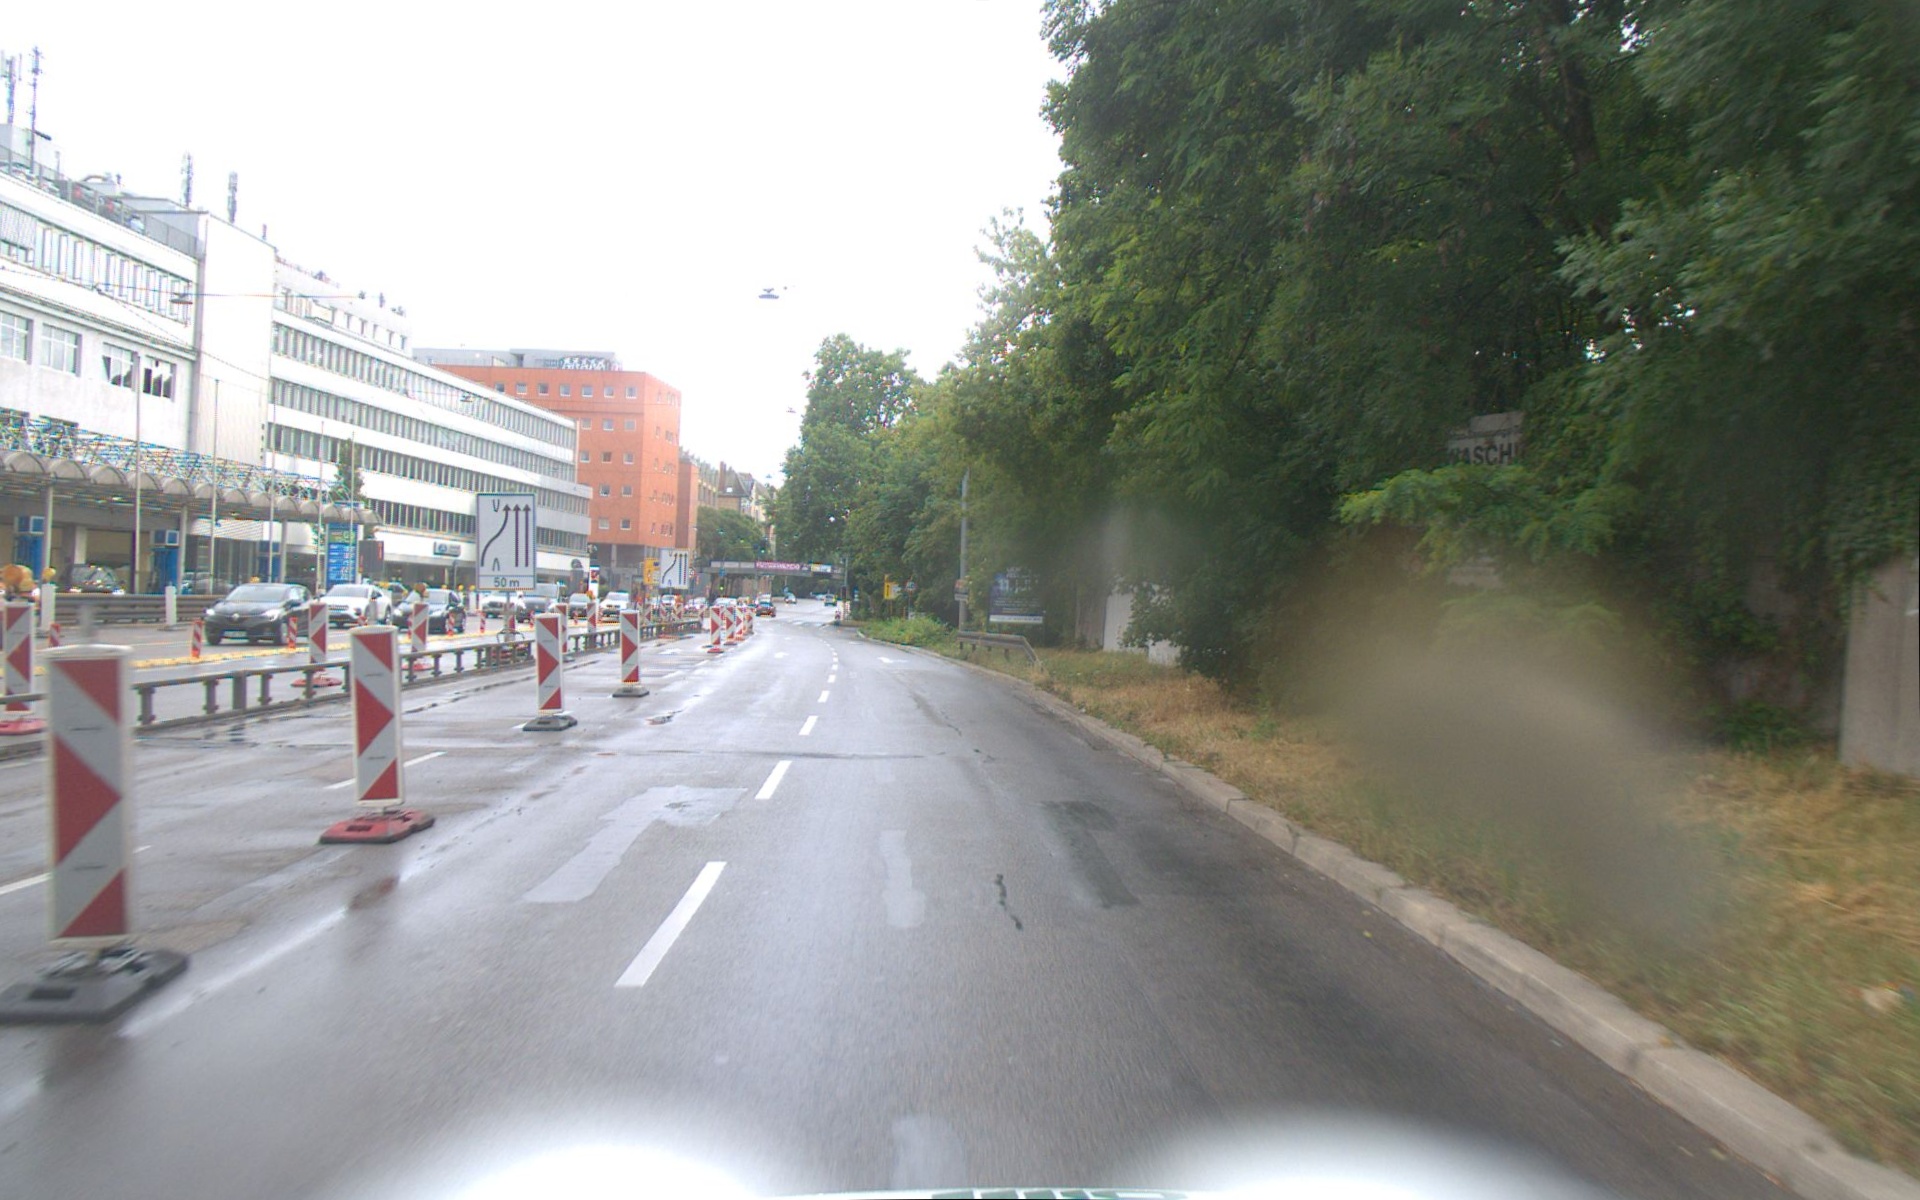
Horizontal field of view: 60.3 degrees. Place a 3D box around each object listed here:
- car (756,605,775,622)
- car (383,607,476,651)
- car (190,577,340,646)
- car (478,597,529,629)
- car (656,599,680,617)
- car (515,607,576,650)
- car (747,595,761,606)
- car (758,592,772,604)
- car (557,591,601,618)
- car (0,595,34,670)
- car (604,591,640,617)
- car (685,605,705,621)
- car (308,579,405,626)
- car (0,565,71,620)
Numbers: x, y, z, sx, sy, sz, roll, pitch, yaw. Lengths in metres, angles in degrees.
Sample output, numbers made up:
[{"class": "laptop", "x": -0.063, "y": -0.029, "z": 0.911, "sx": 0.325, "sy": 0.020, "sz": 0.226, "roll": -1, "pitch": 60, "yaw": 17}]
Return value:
[{"class": "car", "x": -20.265, "y": 1.422, "z": 172.043, "sx": 1.728, "sy": 1.726, "sz": 3.703, "roll": 1, "pitch": 0, "yaw": -4}, {"class": "car", "x": -17.909, "y": 0.947, "z": 56.041, "sx": 1.761, "sy": 1.375, "sz": 4.810, "roll": 1, "pitch": 0, "yaw": -2}, {"class": "car", "x": -16.652, "y": 0.270, "z": 39.875, "sx": 1.747, "sy": 1.534, "sz": 4.521, "roll": 1, "pitch": 0, "yaw": -1}, {"class": "car", "x": -23.743, "y": 0.677, "z": 86.168, "sx": 1.713, "sy": 1.613, "sz": 4.261, "roll": 1, "pitch": 0, "yaw": -4}, {"class": "car", "x": -29.190, "y": 0.789, "z": 165.528, "sx": 1.941, "sy": 1.737, "sz": 4.825, "roll": 2, "pitch": 0, "yaw": -6}, {"class": "car", "x": -19.817, "y": 1.354, "z": 79.286, "sx": 1.954, "sy": 1.970, "sz": 5.226, "roll": 0, "pitch": 0, "yaw": -5}, {"class": "car", "x": -30.086, "y": 0.122, "z": 241.435, "sx": 1.793, "sy": 1.528, "sz": 4.370, "roll": 1, "pitch": 0, "yaw": -4}, {"class": "car", "x": -30.087, "y": -0.285, "z": 255.128, "sx": 1.699, "sy": 1.817, "sz": 4.299, "roll": 1, "pitch": 0, "yaw": -3}, {"class": "car", "x": -22.166, "y": 0.256, "z": 96.314, "sx": 1.815, "sy": 1.492, "sz": 4.702, "roll": 1, "pitch": 0, "yaw": -5}, {"class": "car", "x": -19.308, "y": 0.598, "z": 31.098, "sx": 1.698, "sy": 1.439, "sz": 3.708, "roll": 2, "pitch": 0, "yaw": -1}, {"class": "car", "x": -22.907, "y": 0.267, "z": 112.288, "sx": 1.901, "sy": 1.719, "sz": 4.575, "roll": 1, "pitch": 0, "yaw": -6}, {"class": "car", "x": -25.493, "y": 1.237, "z": 159.179, "sx": 1.702, "sy": 1.428, "sz": 4.283, "roll": 3, "pitch": 0, "yaw": -6}, {"class": "car", "x": -20.940, "y": 0.096, "z": 57.600, "sx": 1.747, "sy": 1.534, "sz": 4.521, "roll": 1, "pitch": 0, "yaw": -1}, {"class": "car", "x": -32.493, "y": -0.245, "z": 56.529, "sx": 4.356, "sy": 1.801, "sz": 1.960, "roll": 0, "pitch": 0, "yaw": 35}]
